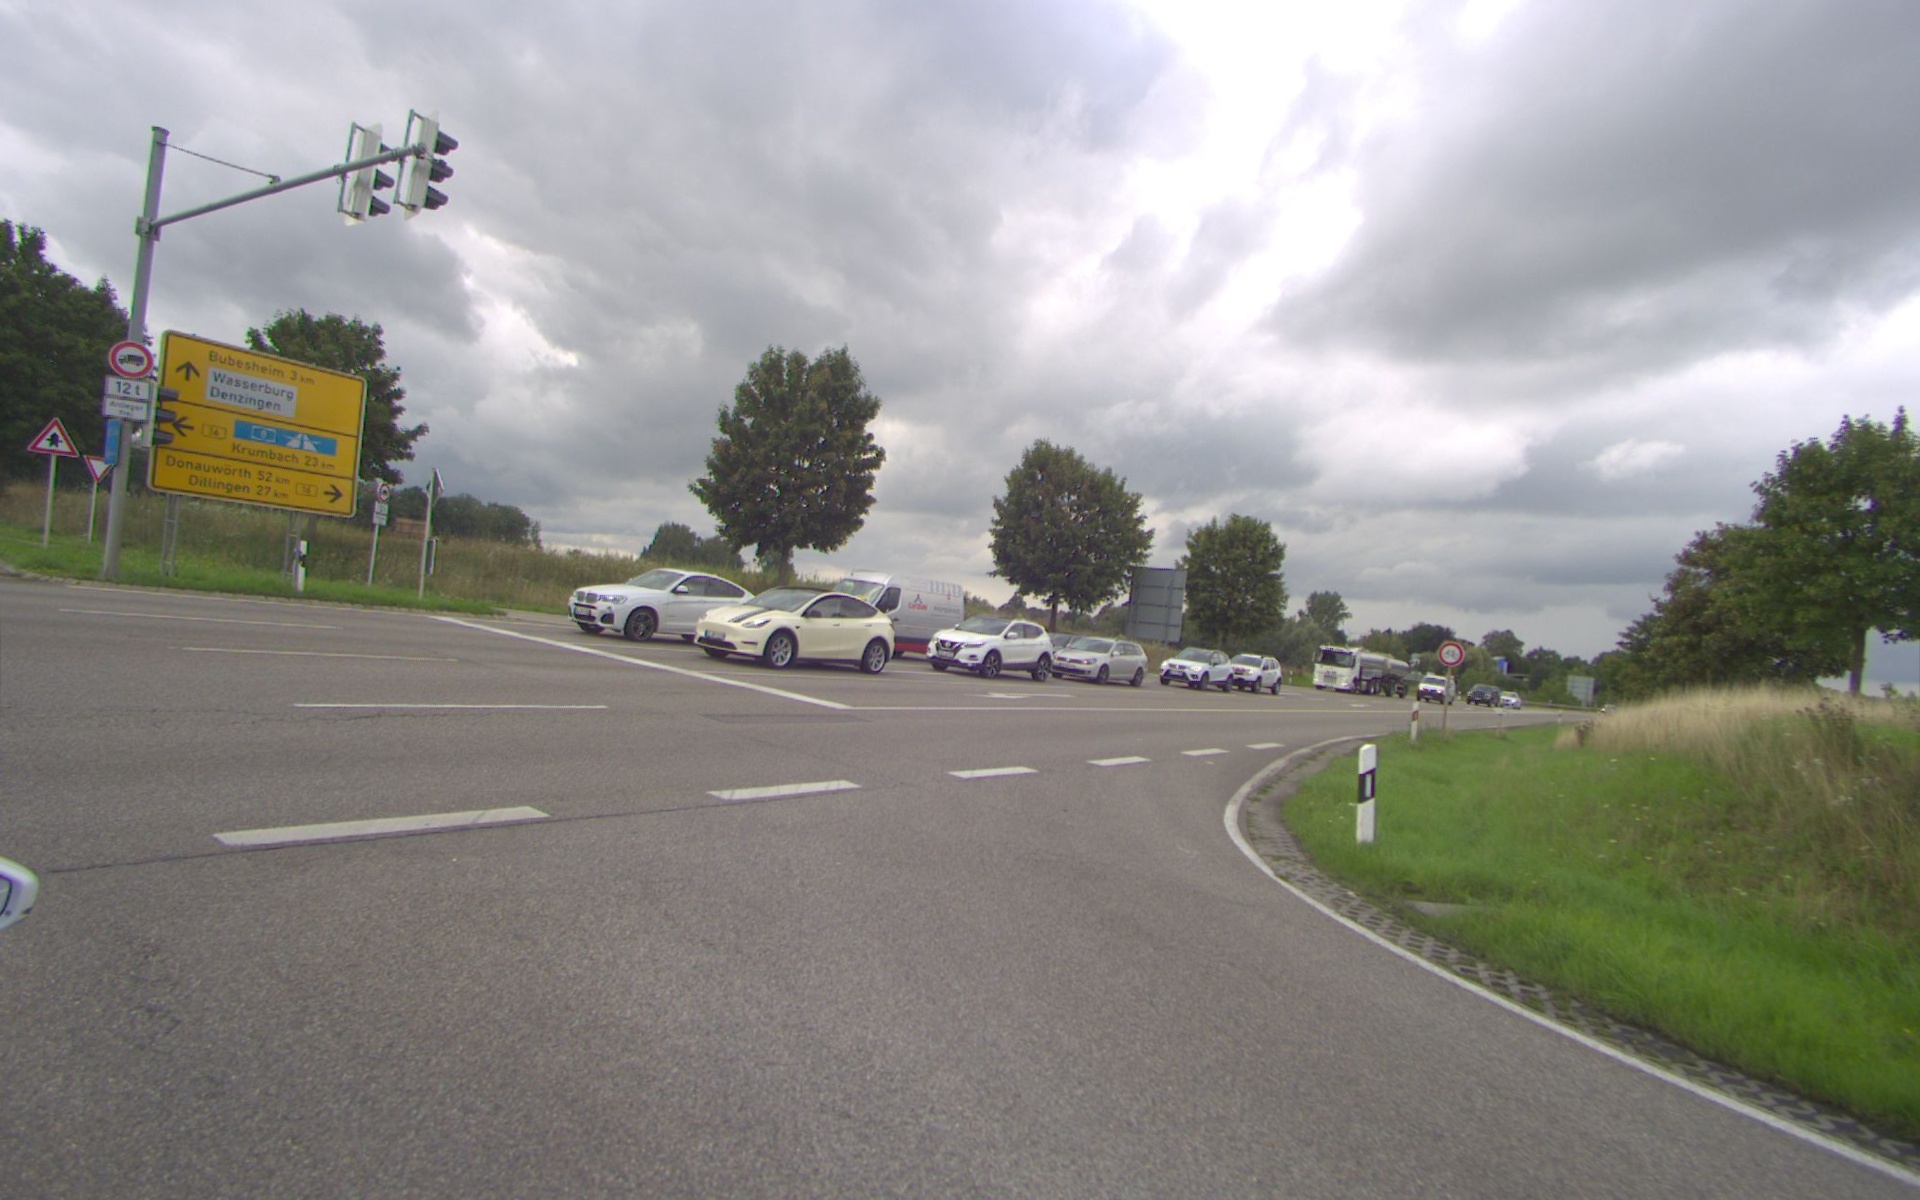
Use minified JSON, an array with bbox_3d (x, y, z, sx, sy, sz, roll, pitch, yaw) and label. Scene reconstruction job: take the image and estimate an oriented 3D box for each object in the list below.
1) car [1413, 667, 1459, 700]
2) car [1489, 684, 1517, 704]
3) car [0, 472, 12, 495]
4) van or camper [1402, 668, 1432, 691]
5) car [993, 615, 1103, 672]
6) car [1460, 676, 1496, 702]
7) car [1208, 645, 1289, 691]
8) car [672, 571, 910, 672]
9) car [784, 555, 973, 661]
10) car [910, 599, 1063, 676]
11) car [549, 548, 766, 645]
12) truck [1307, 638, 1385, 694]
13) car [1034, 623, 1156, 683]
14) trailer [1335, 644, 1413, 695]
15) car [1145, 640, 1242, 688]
[{"bbox_3d":[35.236,6.224,74.415,2.136,2.038,4.667,7,-1,36],"label":"car"},{"bbox_3d":[54.650,9.489,101.255,2.134,1.615,4.748,7,-1,31],"label":"car"},{"bbox_3d":[-67.730,-8.276,69.067,1.972,1.521,4.646,8,-1,-20],"label":"car"},{"bbox_3d":[46.703,8.160,102.844,1.969,2.037,3.989,5,-2,35],"label":"van or camper"},{"bbox_3d":[3.228,1.587,36.232,1.969,1.648,4.264,6,-2,35],"label":"car"},{"bbox_3d":[47.279,8.144,91.748,2.136,2.038,4.514,7,-1,36],"label":"car"},{"bbox_3d":[12.598,2.977,43.776,1.968,1.611,4.436,7,-1,34],"label":"car"},{"bbox_3d":[-3.301,0.511,20.600,1.968,1.583,4.737,6,-2,34],"label":"car"},{"bbox_3d":[-2.249,0.321,29.554,2.361,2.470,5.498,6,-2,35],"label":"car"},{"bbox_3d":[0.807,1.062,27.044,1.969,1.649,4.312,6,-2,35],"label":"car"},{"bbox_3d":[-6.638,-0.019,22.504,1.968,1.648,4.265,6,-2,34],"label":"car"},{"bbox_3d":[26.470,4.561,68.785,3.059,3.146,7.388,7,-1,34],"label":"truck"},{"bbox_3d":[4.422,1.743,32.342,1.968,1.472,4.570,7,-1,34],"label":"car"},{"bbox_3d":[31.493,5.326,76.235,3.059,3.128,10.635,7,-1,34],"label":"trailer"},{"bbox_3d":[9.051,2.497,38.752,1.969,1.435,4.435,7,-1,35],"label":"car"}]
